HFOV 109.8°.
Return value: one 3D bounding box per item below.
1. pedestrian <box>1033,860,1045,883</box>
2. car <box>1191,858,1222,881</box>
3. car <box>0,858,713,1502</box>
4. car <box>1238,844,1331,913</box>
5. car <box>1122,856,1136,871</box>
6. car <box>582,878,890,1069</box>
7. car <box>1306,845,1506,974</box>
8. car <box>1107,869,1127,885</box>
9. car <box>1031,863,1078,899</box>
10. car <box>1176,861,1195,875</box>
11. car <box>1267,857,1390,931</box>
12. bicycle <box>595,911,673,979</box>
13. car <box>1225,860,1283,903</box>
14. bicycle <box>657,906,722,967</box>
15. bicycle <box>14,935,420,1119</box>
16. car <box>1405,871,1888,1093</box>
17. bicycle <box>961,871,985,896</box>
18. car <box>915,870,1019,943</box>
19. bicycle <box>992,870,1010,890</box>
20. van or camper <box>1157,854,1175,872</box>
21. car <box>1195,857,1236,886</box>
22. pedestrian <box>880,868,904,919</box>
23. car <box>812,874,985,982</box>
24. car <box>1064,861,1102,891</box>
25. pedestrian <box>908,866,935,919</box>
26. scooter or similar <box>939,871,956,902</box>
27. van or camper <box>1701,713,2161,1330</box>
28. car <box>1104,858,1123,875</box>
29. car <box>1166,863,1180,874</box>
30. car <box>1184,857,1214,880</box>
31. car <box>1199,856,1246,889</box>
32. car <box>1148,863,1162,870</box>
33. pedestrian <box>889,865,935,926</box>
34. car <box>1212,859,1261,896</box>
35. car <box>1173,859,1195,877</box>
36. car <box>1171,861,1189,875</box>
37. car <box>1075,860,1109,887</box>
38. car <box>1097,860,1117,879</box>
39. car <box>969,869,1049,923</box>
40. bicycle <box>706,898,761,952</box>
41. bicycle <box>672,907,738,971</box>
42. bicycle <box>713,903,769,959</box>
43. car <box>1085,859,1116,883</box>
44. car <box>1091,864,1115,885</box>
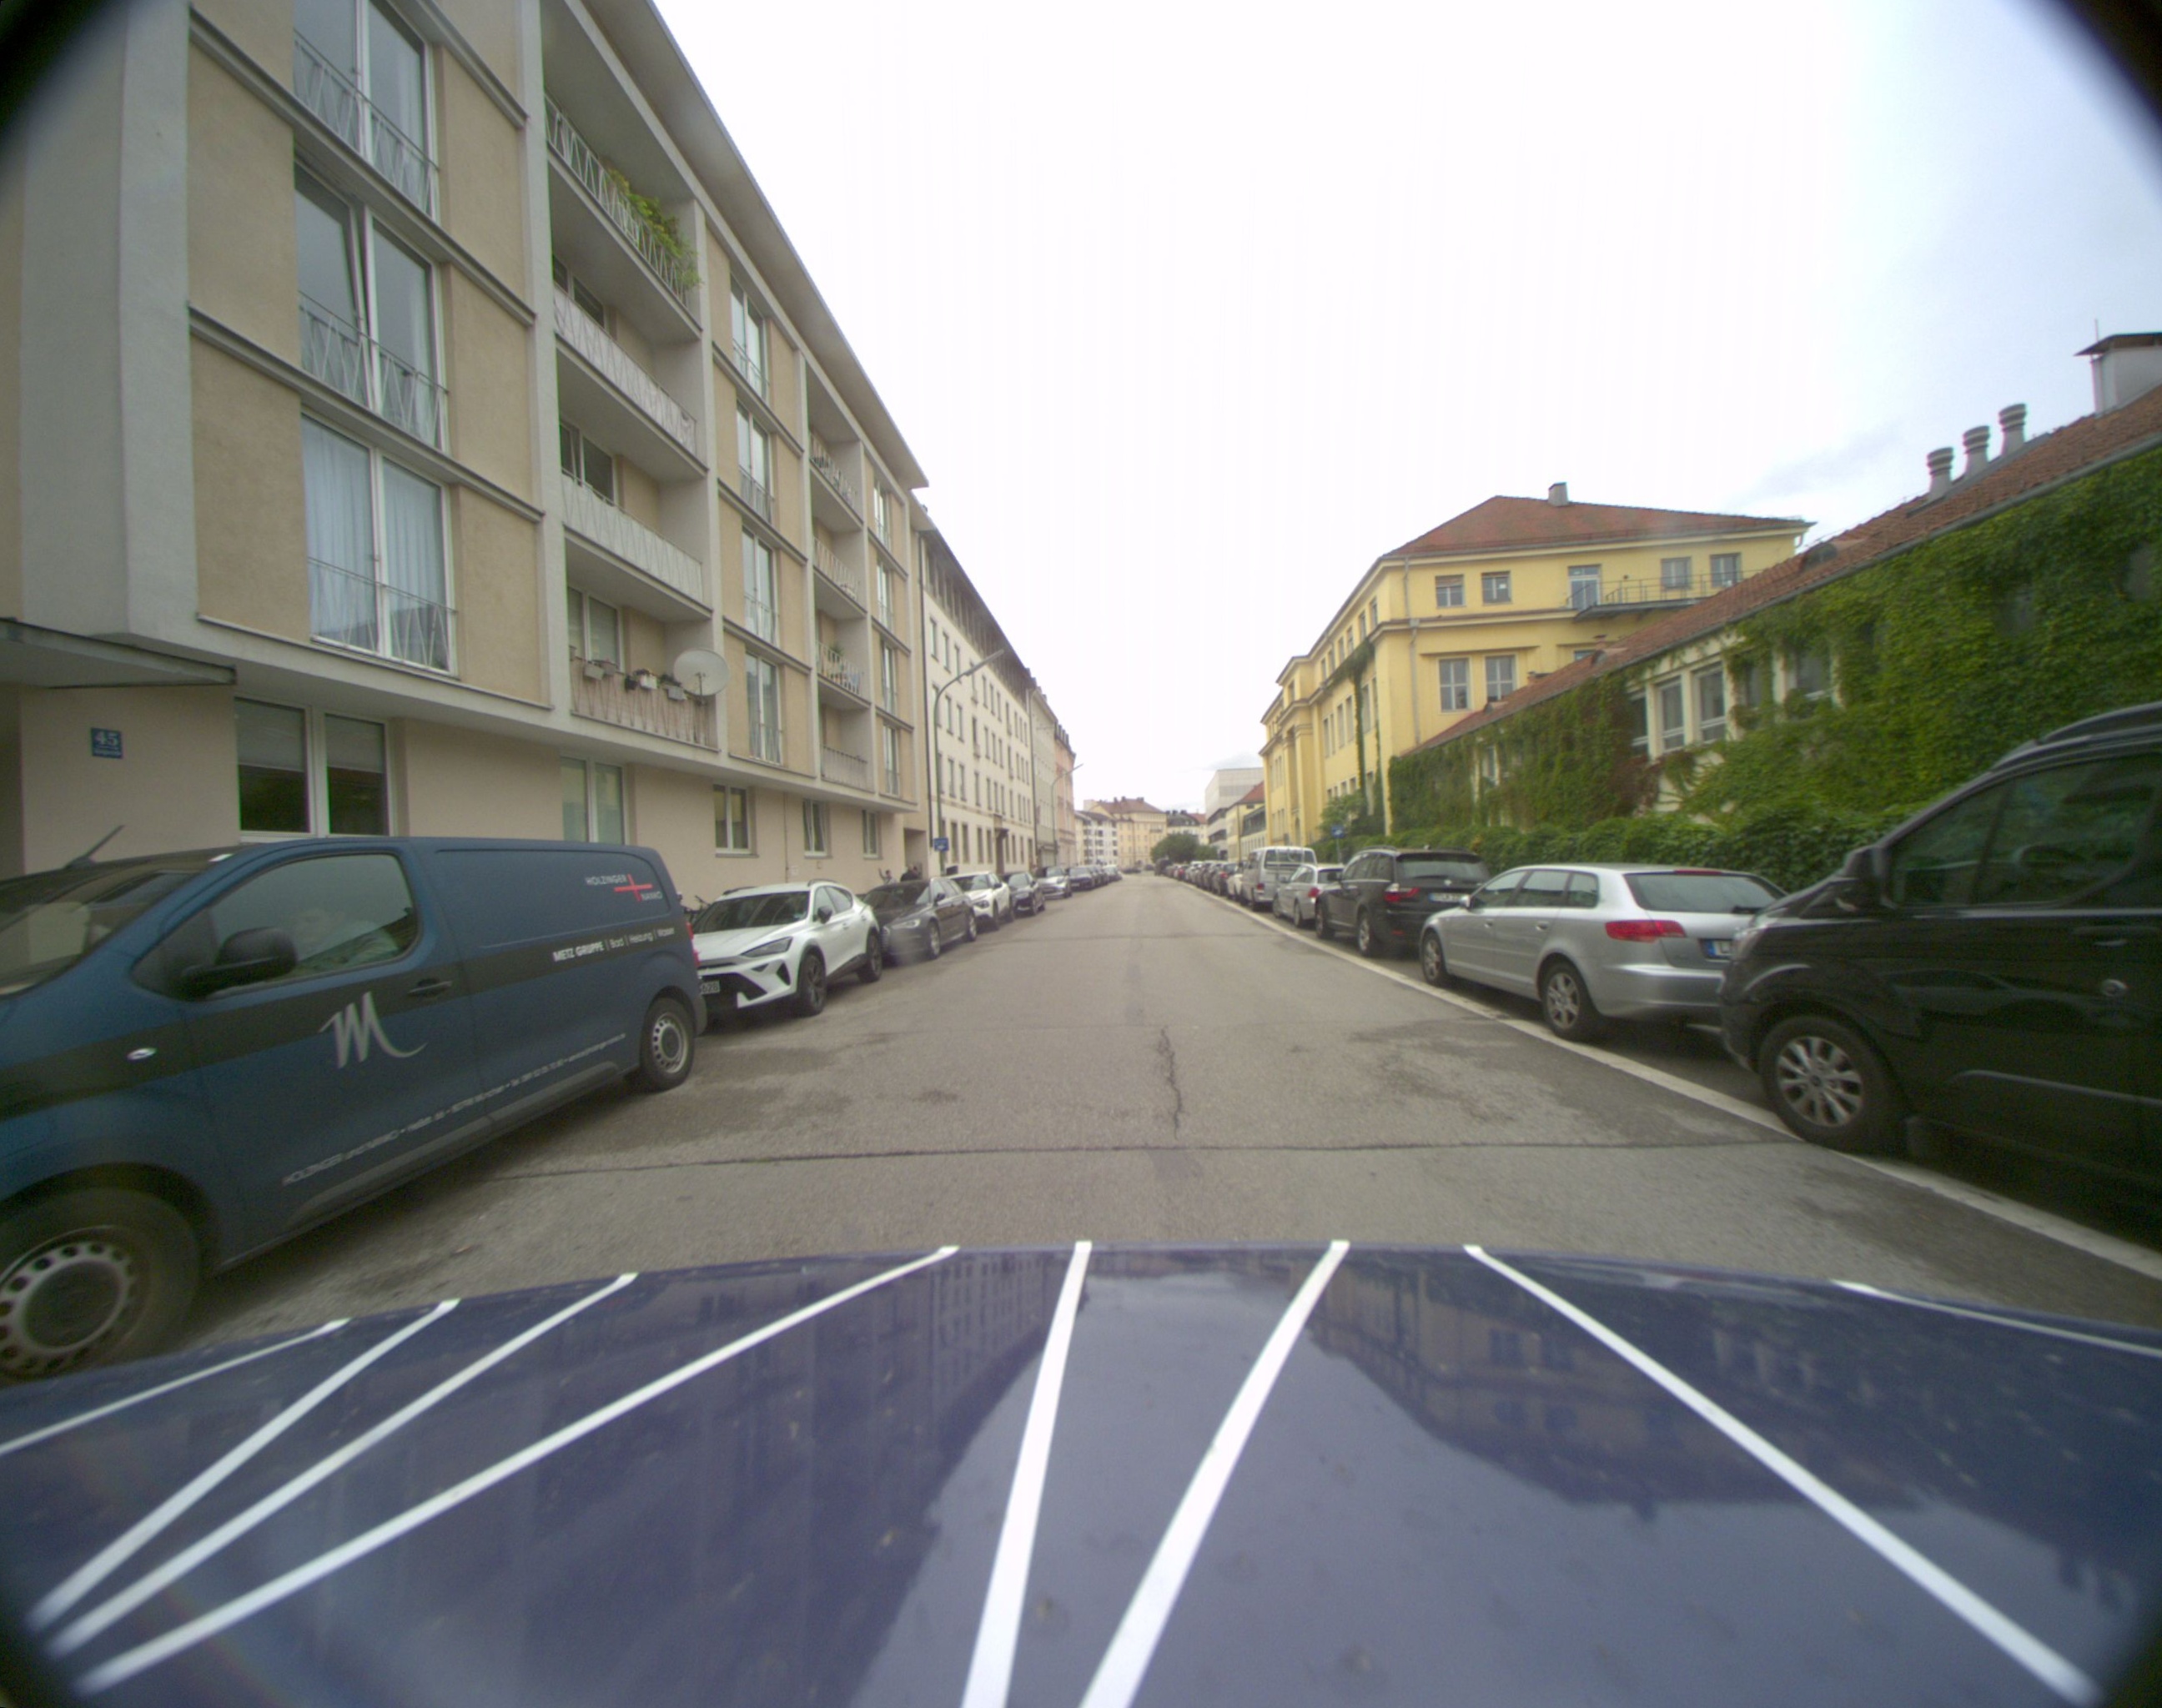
[{"bbox_3d":[-2.977,1.217,54.093,0.736,1.616,0.828,-1,0,6],"label":"pedestrian"},{"bbox_3d":[8.522,1.021,51.928,1.683,1.417,3.896,-3,0,4],"label":"car"},{"bbox_3d":[-4.071,1.021,3.641,1.969,1.805,4.936,-5,0,1],"label":"car"},{"bbox_3d":[6.057,0.670,23.150,1.997,1.864,4.760,0,0,6],"label":"car"},{"bbox_3d":[5.770,1.150,91.962,1.607,1.632,3.632,-3,0,4],"label":"car"},{"bbox_3d":[-3.852,1.216,9.441,1.743,1.528,4.273,-6,0,-1],"label":"car"},{"bbox_3d":[5.032,0.757,12.460,1.623,1.719,4.426,-1,0,4],"label":"car"},{"bbox_3d":[3.646,2.246,75.978,1.695,1.442,4.085,-1,0,7],"label":"car"},{"bbox_3d":[-1.197,1.234,36.107,1.675,1.526,3.883,-3,0,6],"label":"car"},{"bbox_3d":[10.923,1.463,79.631,1.678,1.389,3.998,1,-1,3],"label":"car"},{"bbox_3d":[5.549,0.832,17.589,1.705,1.414,4.426,-3,0,5],"label":"car"},{"bbox_3d":[-7.672,1.537,13.097,0.390,1.017,1.402,-1,0,5],"label":"bicycle"},{"bbox_3d":[6.390,0.969,28.368,1.582,1.483,3.731,1,0,4],"label":"car"},{"bbox_3d":[-7.464,1.544,14.535,0.390,1.017,1.402,-1,0,5],"label":"bicycle"},{"bbox_3d":[-7.738,1.479,7.058,1.149,1.179,2.208,-3,0,3],"label":"bicycle"},{"bbox_3d":[4.652,0.899,7.136,1.623,1.370,4.073,1,0,3],"label":"car"},{"bbox_3d":[-5.271,1.431,37.215,0.660,1.156,2.029,-1,0,5],"label":"bicycle"},{"bbox_3d":[-2.847,1.281,19.941,1.743,1.490,4.220,-5,-1,3],"label":"car"},{"bbox_3d":[-4.648,1.495,44.399,0.660,1.120,2.029,-1,0,5],"label":"bicycle"},{"bbox_3d":[13.548,1.492,121.489,2.141,2.791,5.572,-1,-1,-2],"label":"van or camper"},{"bbox_3d":[7.692,0.969,43.849,1.786,1.529,4.196,-3,0,3],"label":"car"},{"bbox_3d":[-6.082,1.263,24.513,0.532,1.575,0.560,-3,0,5],"label":"pedestrian"},{"bbox_3d":[-3.279,1.270,14.657,1.743,1.490,4.497,-5,0,6],"label":"car"},{"bbox_3d":[0.169,1.256,45.091,1.860,1.535,4.817,-3,0,4],"label":"car"},{"bbox_3d":[-5.072,1.210,24.135,0.598,1.644,0.631,-3,0,5],"label":"pedestrian"},{"bbox_3d":[-5.772,1.409,32.857,0.600,1.245,1.038,-1,3,-3],"label":"scooter or similar"},{"bbox_3d":[4.588,0.559,2.002,1.966,2.053,4.753,0,0,-1],"label":"van or camper"},{"bbox_3d":[3.807,1.405,87.572,1.844,1.775,4.897,-5,-1,5],"label":"car"},{"bbox_3d":[11.654,1.826,96.323,1.797,1.396,4.130,1,-1,7],"label":"car"},{"bbox_3d":[8.881,1.077,57.335,1.684,1.624,4.358,-3,0,2],"label":"car"},{"bbox_3d":[7.147,0.904,38.784,1.786,1.529,4.150,-3,0,3],"label":"car"},{"bbox_3d":[20.709,3.597,213.109,3.995,1.848,2.001,-2,-1,6],"label":"car"},{"bbox_3d":[-4.876,1.176,22.007,0.900,1.677,1.320,-2,0,4],"label":"pedestrian"},{"bbox_3d":[6.764,0.981,33.392,1.582,1.447,3.905,-3,0,4],"label":"car"},{"bbox_3d":[9.106,1.211,67.181,1.683,1.487,3.987,-3,0,5],"label":"car"},{"bbox_3d":[11.149,1.596,85.487,1.678,1.557,3.998,1,-1,3],"label":"car"},{"bbox_3d":[0.760,1.270,50.034,1.782,1.575,4.273,-3,0,6],"label":"car"},{"bbox_3d":[2.365,1.412,68.928,1.696,1.574,4.084,-3,0,3],"label":"car"},{"bbox_3d":[-2.227,1.288,24.712,1.800,1.412,4.484,-6,-1,3],"label":"car"},{"bbox_3d":[-7.311,1.481,16.031,0.390,1.017,1.402,-1,0,5],"label":"bicycle"},{"bbox_3d":[-6.858,1.524,13.916,0.390,1.017,1.402,-1,0,5],"label":"bicycle"},{"bbox_3d":[-6.894,1.542,15.479,0.390,1.017,1.402,-1,0,5],"label":"bicycle"},{"bbox_3d":[1.430,1.221,55.043,1.782,1.575,4.332,-3,0,7],"label":"car"},{"bbox_3d":[1.874,1.691,63.501,1.860,1.535,4.158,-3,0,4],"label":"car"}]
